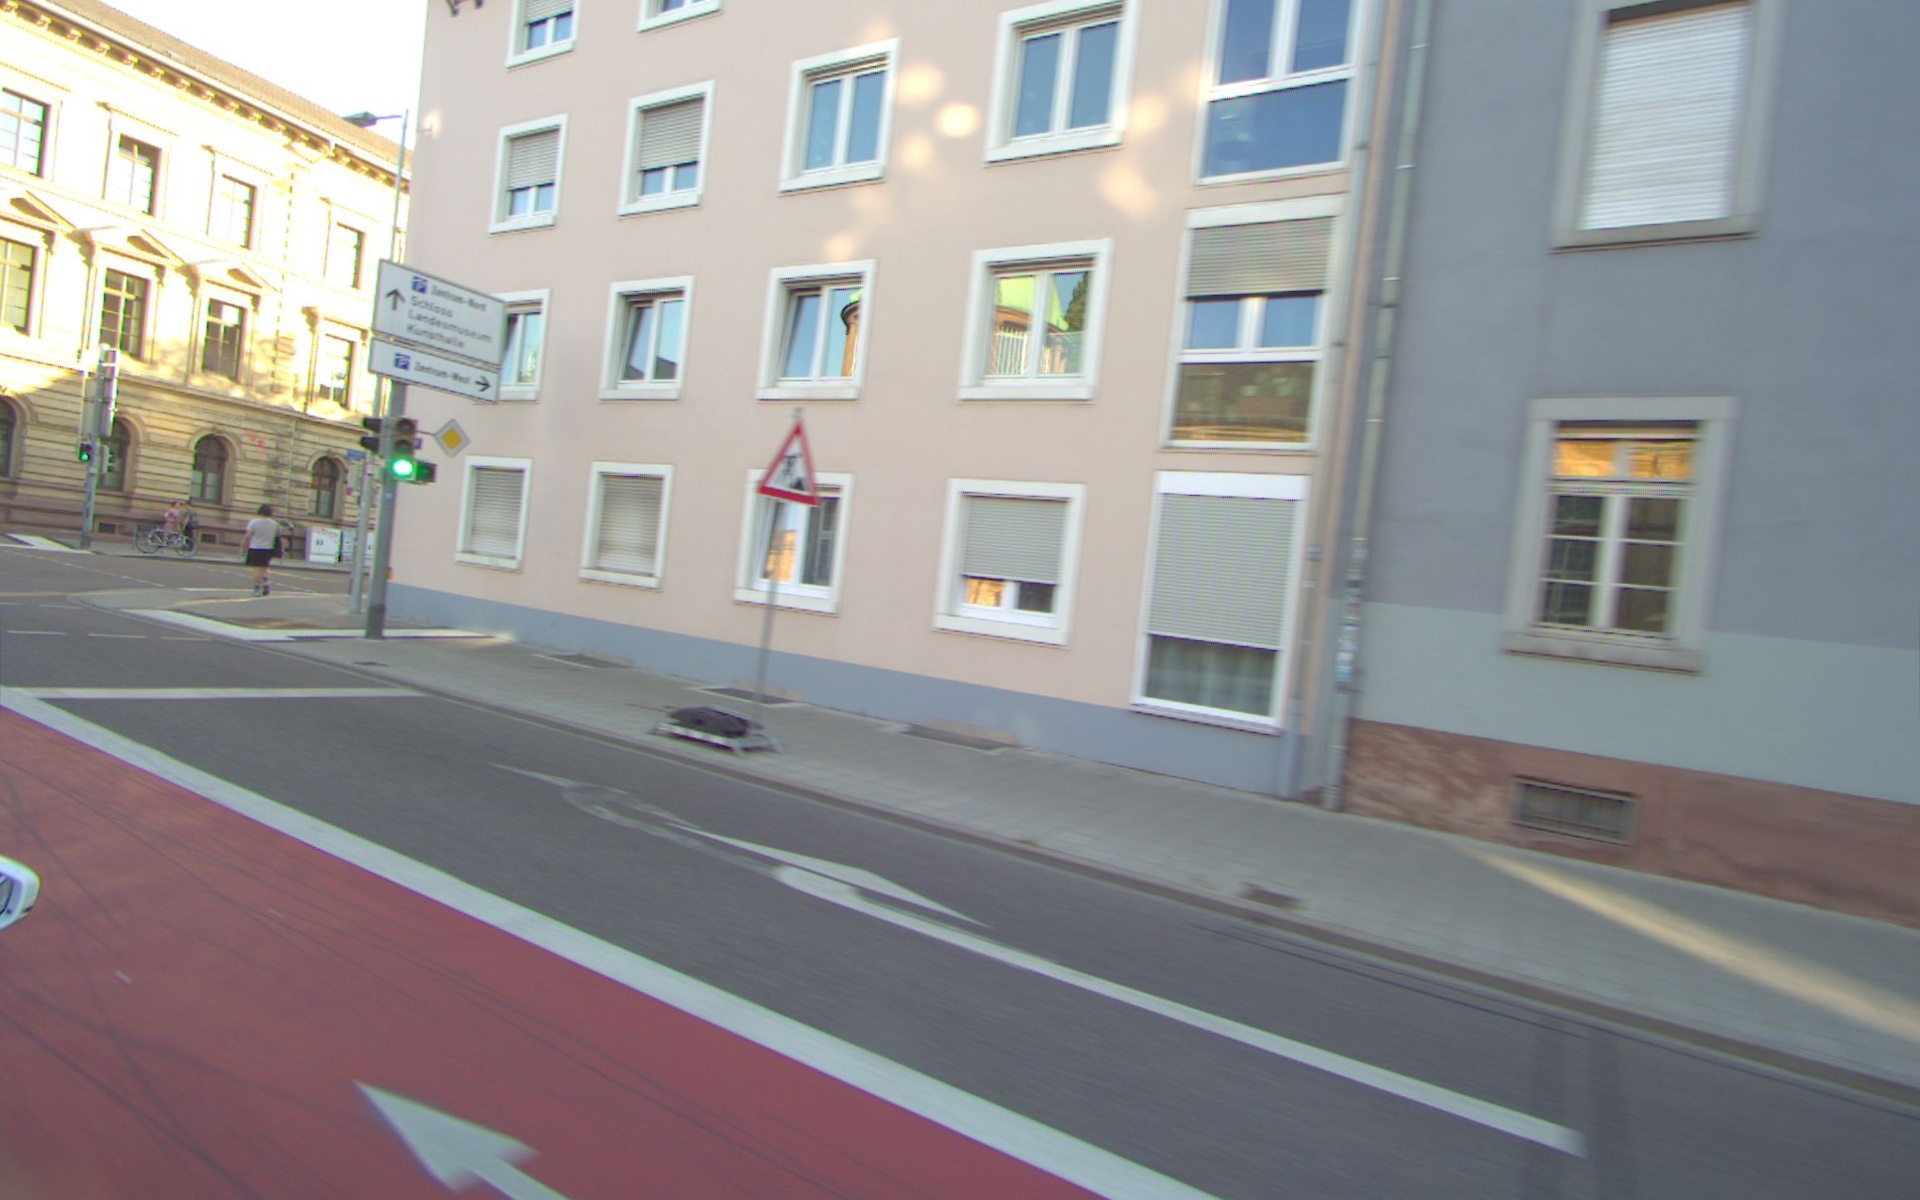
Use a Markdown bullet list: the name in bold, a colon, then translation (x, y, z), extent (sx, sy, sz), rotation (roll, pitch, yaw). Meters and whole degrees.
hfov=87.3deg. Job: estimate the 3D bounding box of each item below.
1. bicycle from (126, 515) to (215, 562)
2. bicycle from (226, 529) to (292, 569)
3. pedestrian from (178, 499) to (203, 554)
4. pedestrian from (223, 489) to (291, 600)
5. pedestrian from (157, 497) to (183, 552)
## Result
- **bicycle**: translation (-26.113, -2.020, 33.298), extent (0.847, 1.222, 2.053), rotation (10, 1, 29)
- **bicycle**: translation (-24.975, -1.815, 35.865), extent (0.684, 1.159, 1.726), rotation (10, 2, 29)
- **pedestrian**: translation (-27.517, -2.629, 35.968), extent (0.530, 1.881, 0.616), rotation (6, 1, -34)
- **pedestrian**: translation (-13.762, -1.091, 19.684), extent (0.782, 2.039, 0.982), rotation (6, 1, -44)
- **pedestrian**: translation (-28.019, -2.686, 35.678), extent (0.420, 1.881, 0.449), rotation (6, 1, -10)
